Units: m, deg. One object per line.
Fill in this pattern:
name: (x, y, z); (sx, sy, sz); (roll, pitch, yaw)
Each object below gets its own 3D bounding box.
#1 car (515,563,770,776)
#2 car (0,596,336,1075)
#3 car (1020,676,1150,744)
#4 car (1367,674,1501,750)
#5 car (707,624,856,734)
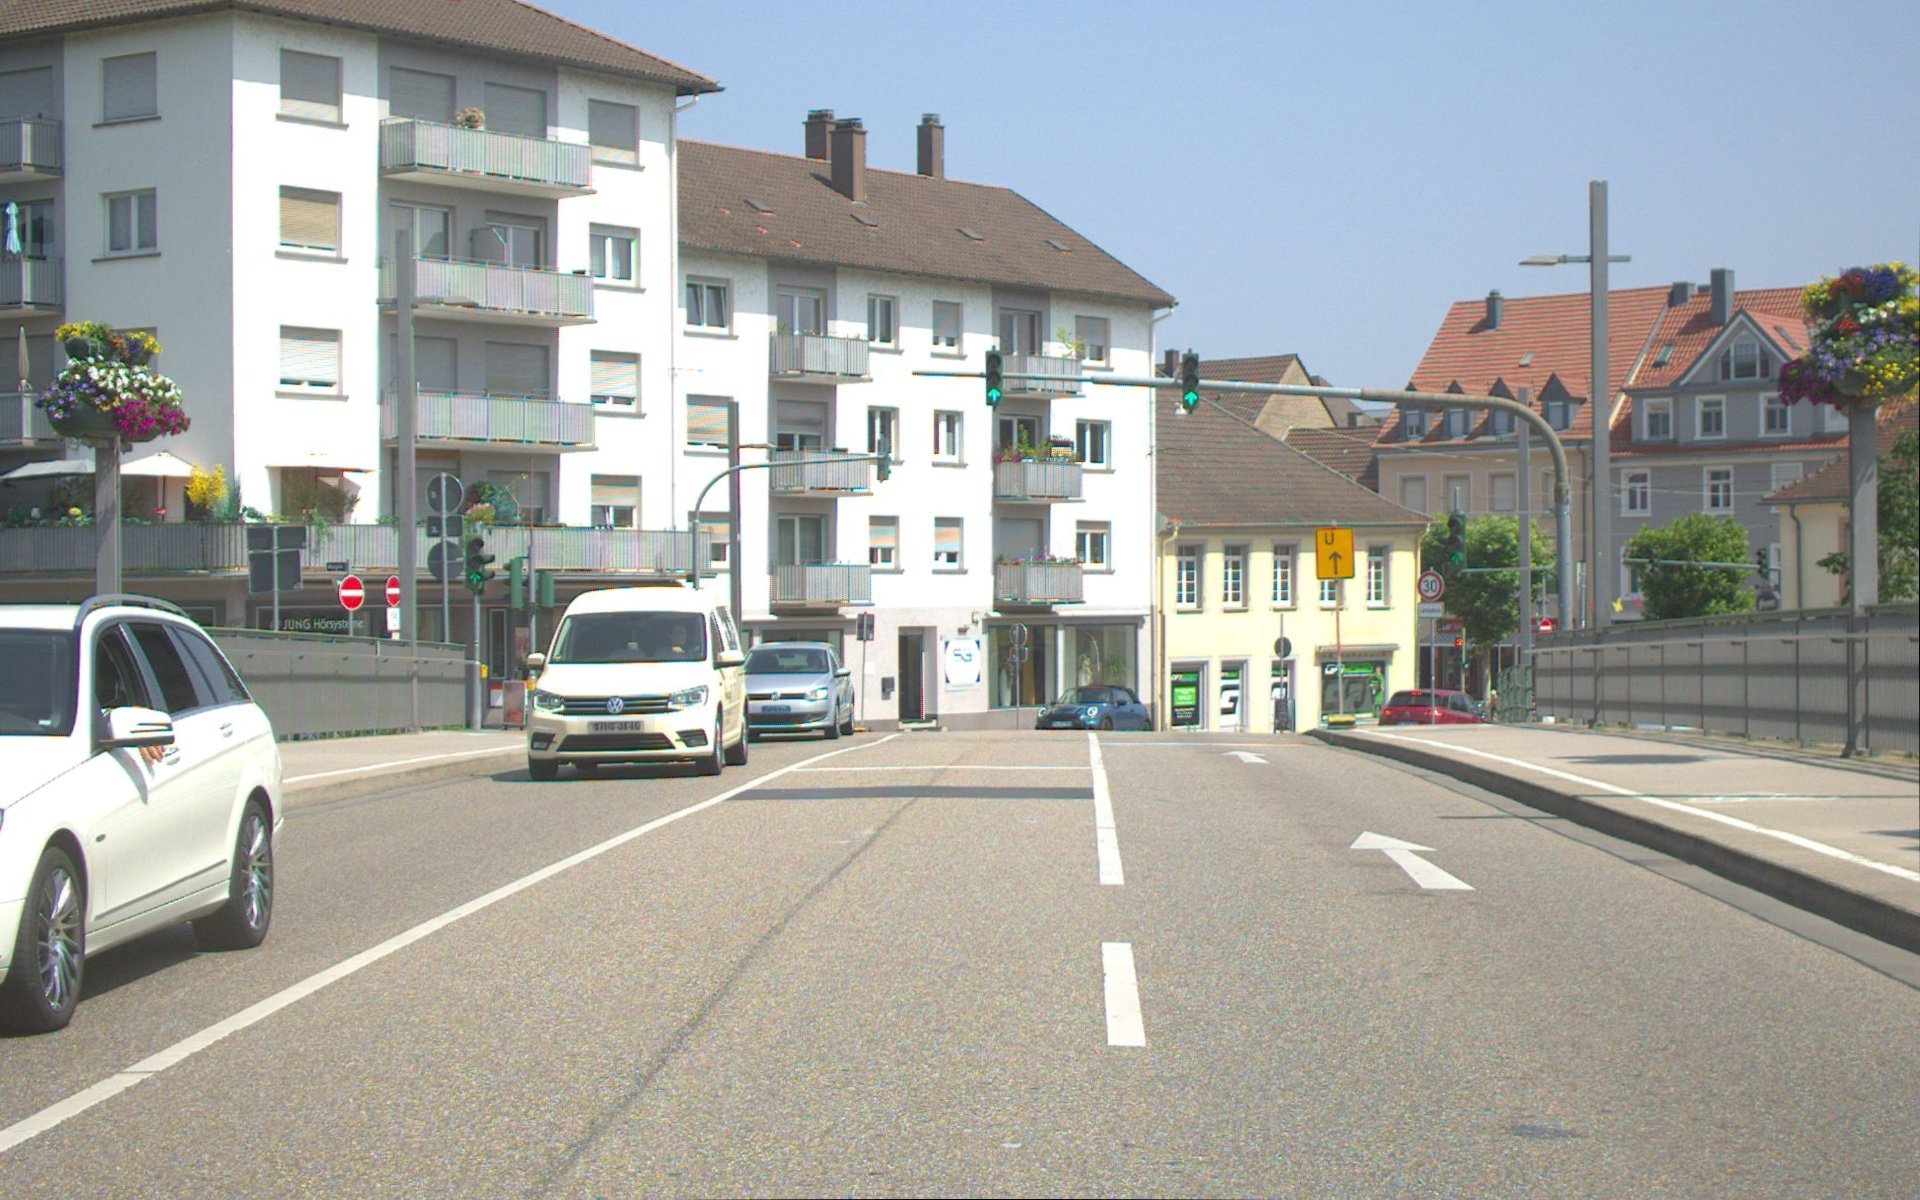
car: (-2.992, 0.658, 33.302); (1.759, 1.851, 4.646); (-3, -1, 3)
car: (-3.784, 0.739, 13.015); (1.844, 1.427, 4.713); (-1, 1, 2)
car: (2.982, 2.587, 81.145); (1.659, 1.435, 3.750); (-3, -1, 25)
car: (11.467, 2.676, 82.931); (1.993, 1.607, 4.336); (-1, 1, 25)
car: (-2.621, 1.147, 51.352); (1.760, 1.514, 3.999); (-1, 0, 3)
